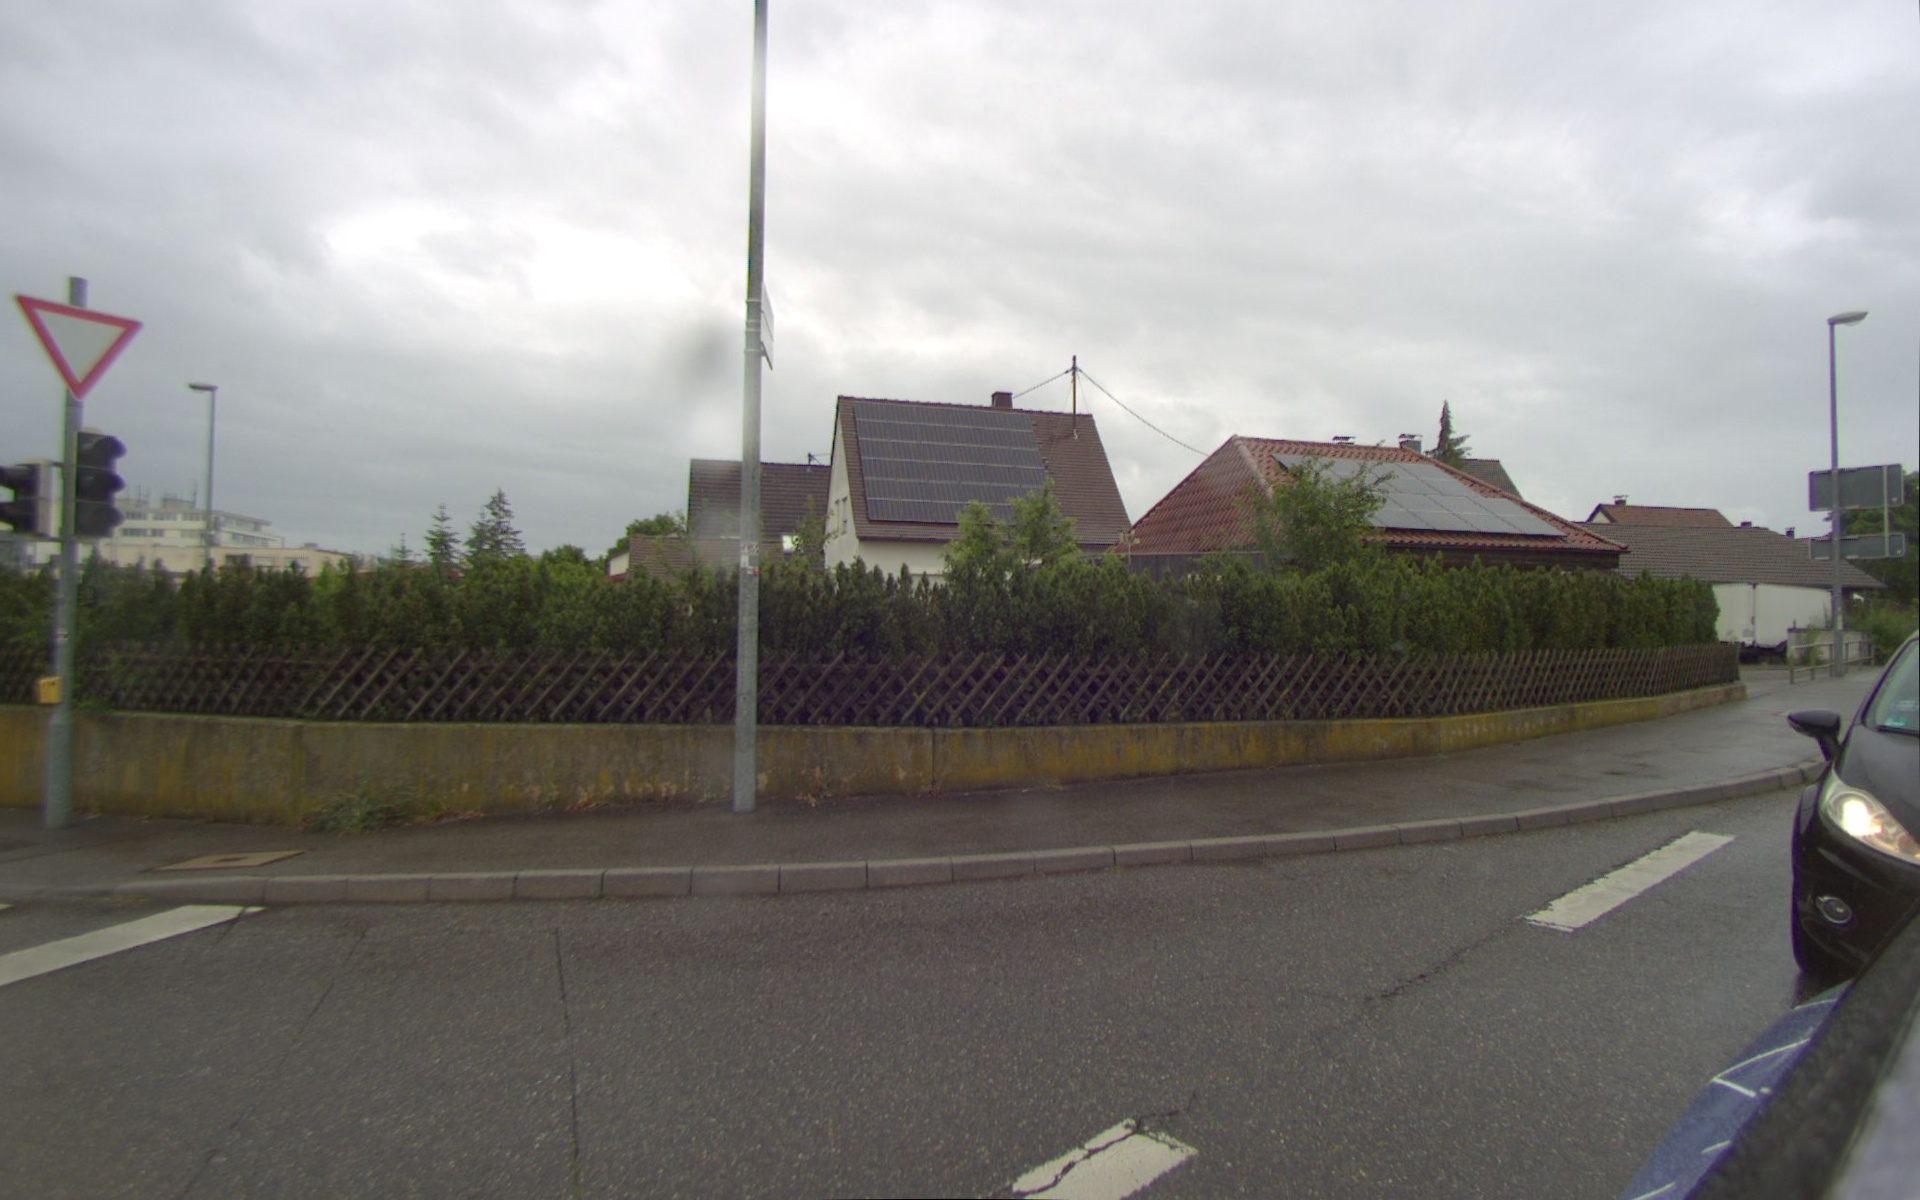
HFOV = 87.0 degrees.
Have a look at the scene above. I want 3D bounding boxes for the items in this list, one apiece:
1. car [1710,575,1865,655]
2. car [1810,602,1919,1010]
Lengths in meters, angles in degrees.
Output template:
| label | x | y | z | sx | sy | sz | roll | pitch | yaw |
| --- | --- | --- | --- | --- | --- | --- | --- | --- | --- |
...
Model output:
| label | x | y | z | sx | sy | sz | roll | pitch | yaw |
| --- | --- | --- | --- | --- | --- | --- | --- | --- | --- |
| car | 25.485 | 0.445 | 31.196 | 3.916 | 2.380 | 1.657 | 0 | -1 | -14 |
| car | 5.249 | 0.754 | 4.613 | 3.867 | 1.436 | 1.663 | -1 | 1 | -43 |
